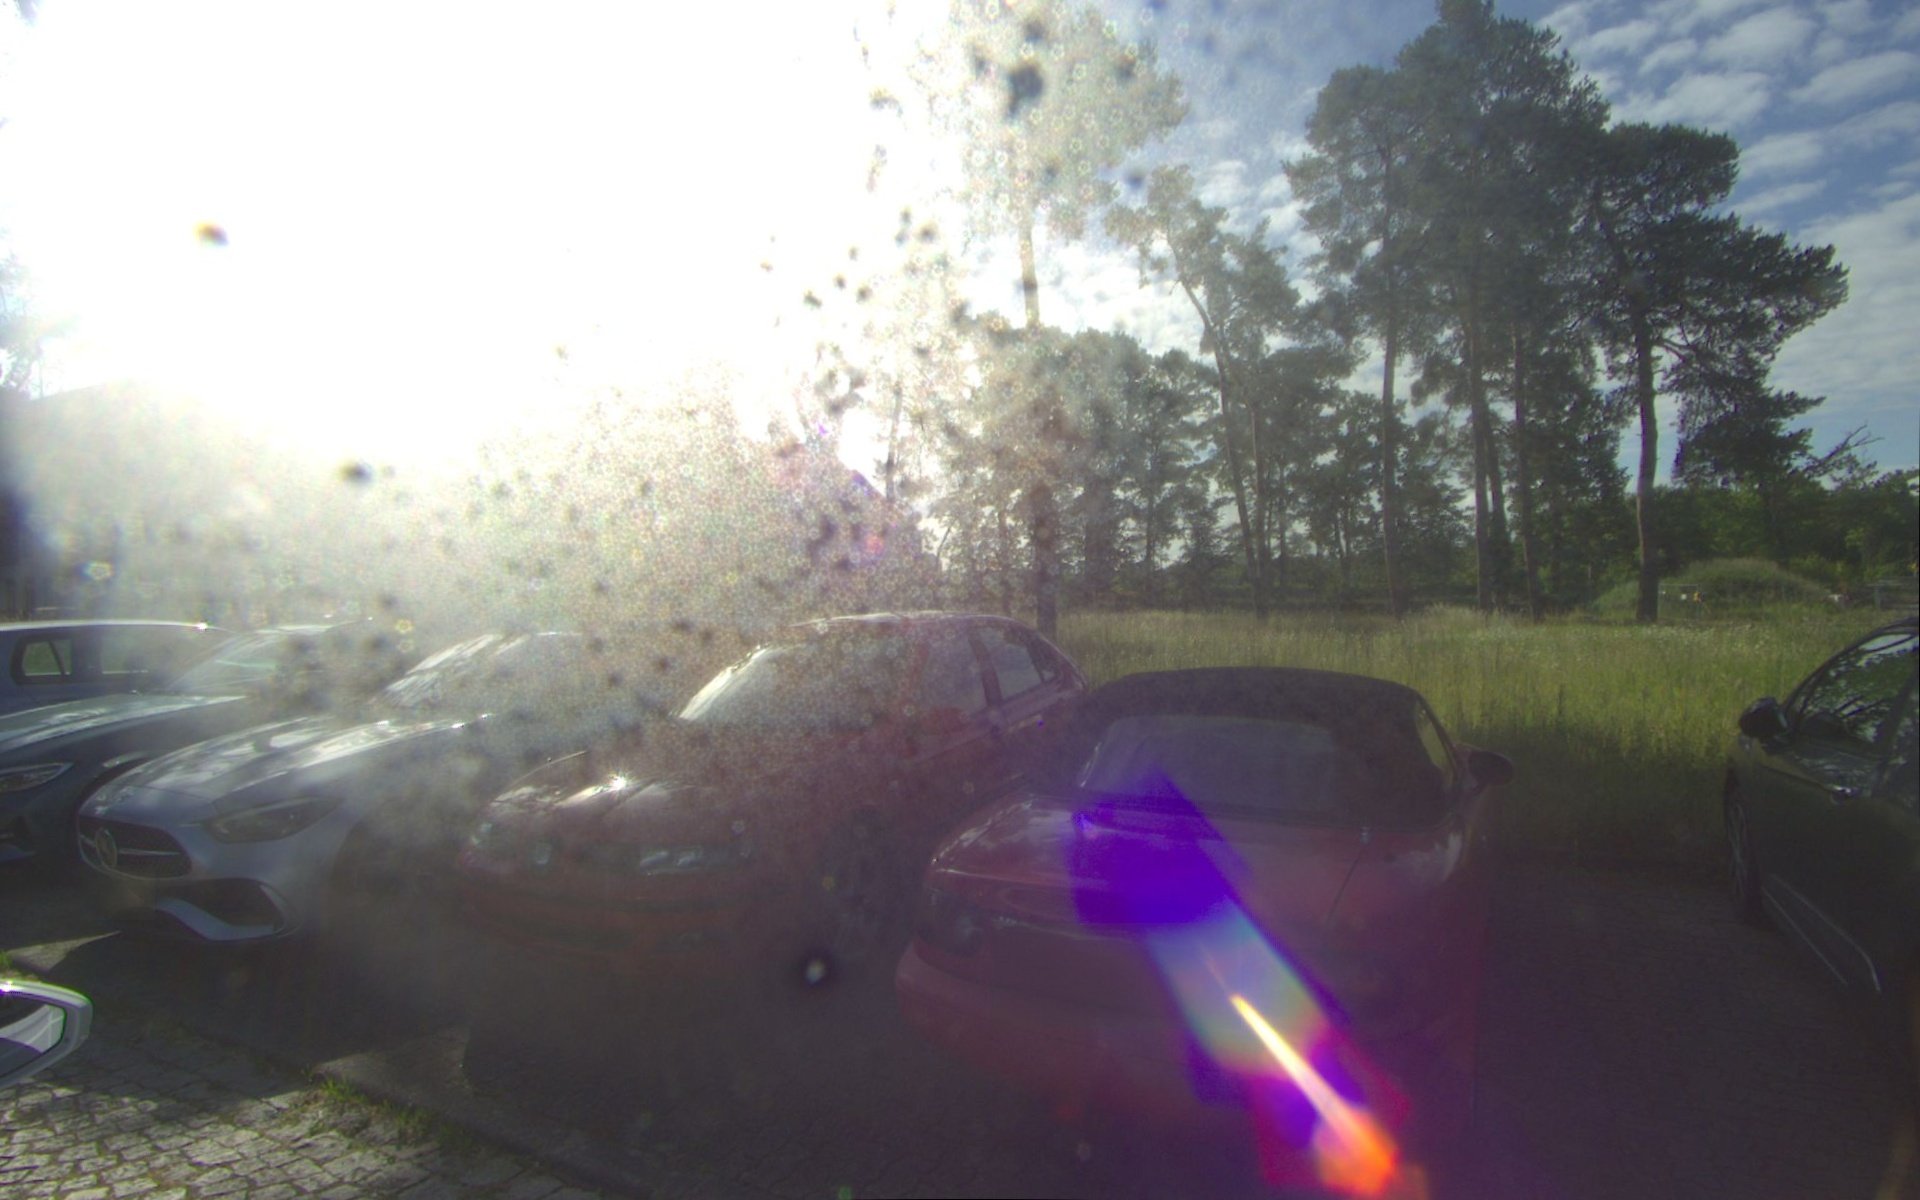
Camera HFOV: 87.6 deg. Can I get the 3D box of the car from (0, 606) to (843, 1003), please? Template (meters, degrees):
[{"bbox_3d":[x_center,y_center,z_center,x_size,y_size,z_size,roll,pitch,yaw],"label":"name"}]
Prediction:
[{"bbox_3d":[-2.705,0.821,6.257,1.761,1.407,4.394,-1,1,27],"label":"car"}]

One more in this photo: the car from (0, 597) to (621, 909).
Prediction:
[{"bbox_3d":[-5.000,0.820,7.623,1.840,1.476,4.615,-1,2,26],"label":"car"}]

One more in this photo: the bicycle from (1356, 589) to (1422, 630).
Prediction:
[{"bbox_3d":[22.797,0.509,53.253,3.083,2.040,0.950,-3,0,28],"label":"bicycle"}]

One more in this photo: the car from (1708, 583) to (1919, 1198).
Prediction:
[{"bbox_3d":[3.591,0.726,2.981,1.641,1.475,3.658,-1,2,28],"label":"car"}]

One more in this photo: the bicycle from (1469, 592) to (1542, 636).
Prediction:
[{"bbox_3d":[27.315,0.703,50.177,3.081,2.040,0.950,-3,0,25],"label":"bicycle"}]

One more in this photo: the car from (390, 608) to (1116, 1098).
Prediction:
[{"bbox_3d":[-0.603,0.838,5.346,1.630,1.468,3.975,-1,1,28],"label":"car"}]

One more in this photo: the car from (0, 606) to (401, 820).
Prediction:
[{"bbox_3d":[-7.225,0.857,8.827,1.640,1.463,3.668,-1,2,28],"label":"car"}]

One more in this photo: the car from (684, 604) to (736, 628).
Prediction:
[{"bbox_3d":[-18.786,1.209,75.363,1.741,1.693,3.629,-1,0,31],"label":"car"}]

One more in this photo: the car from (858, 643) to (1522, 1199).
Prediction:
[{"bbox_3d":[1.223,0.862,3.774,1.513,1.259,3.457,-1,0,29],"label":"car"}]
